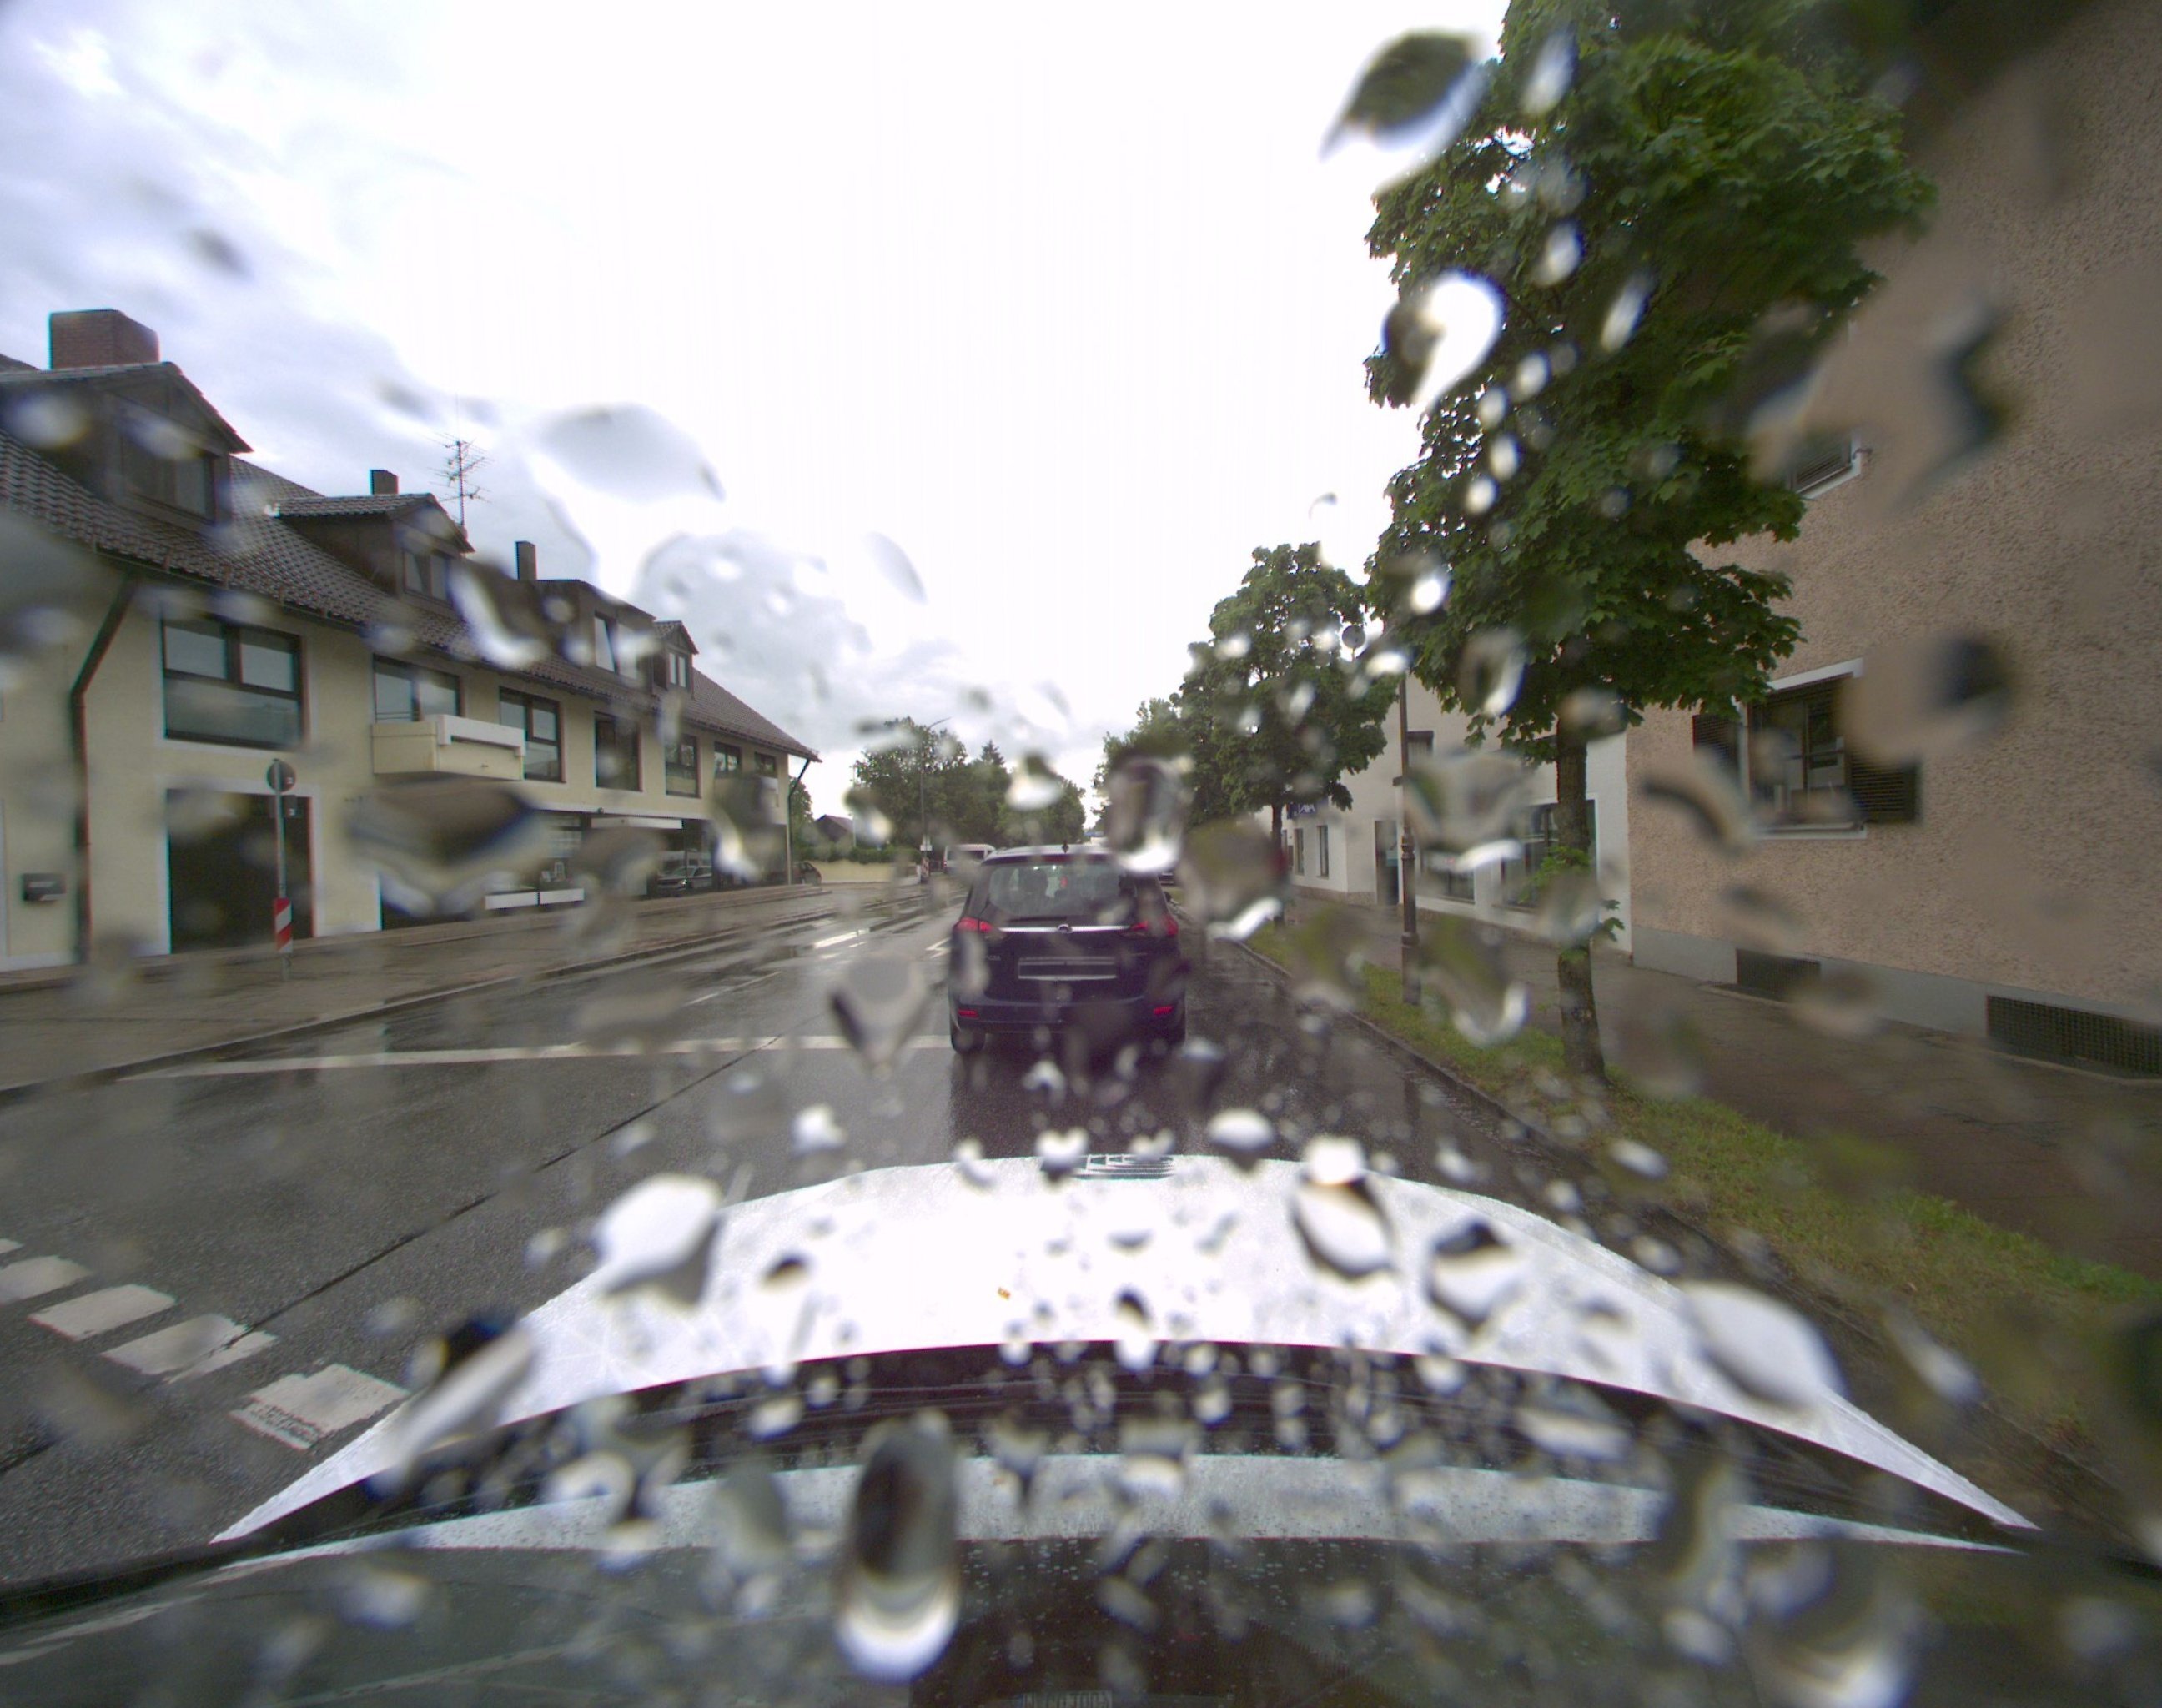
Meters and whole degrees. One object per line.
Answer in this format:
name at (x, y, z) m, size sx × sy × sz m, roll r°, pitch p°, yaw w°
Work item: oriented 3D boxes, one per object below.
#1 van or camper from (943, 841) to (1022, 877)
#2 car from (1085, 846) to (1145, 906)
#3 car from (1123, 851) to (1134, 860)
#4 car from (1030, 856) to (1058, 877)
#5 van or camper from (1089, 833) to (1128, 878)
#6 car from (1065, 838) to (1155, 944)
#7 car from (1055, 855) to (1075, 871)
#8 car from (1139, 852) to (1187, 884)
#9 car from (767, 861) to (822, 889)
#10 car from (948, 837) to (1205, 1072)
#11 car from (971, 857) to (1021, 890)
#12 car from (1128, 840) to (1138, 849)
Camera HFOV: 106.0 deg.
van or camper at (-8.065, 0.401, 67.123) m, size 6.237 × 2.707 × 2.097 m, roll -2°, pitch 0°, yaw -5°
car at (1.079, 0.655, 26.040) m, size 1.749 × 1.706 × 3.621 m, roll -2°, pitch 0°, yaw 2°
car at (7.522, 0.317, 130.265) m, size 1.624 × 1.378 × 3.624 m, roll 0°, pitch -1°, yaw 2°
car at (-2.895, 0.940, 65.043) m, size 1.920 × 1.566 × 4.127 m, roll -2°, pitch 0°, yaw 1°
van or camper at (1.793, 0.084, 52.962) m, size 2.351 × 2.665 × 5.374 m, roll -2°, pitch 0°, yaw 2°
car at (0.543, 0.622, 15.144) m, size 1.494 × 1.776 × 3.113 m, roll 0°, pitch 0°, yaw 2°
car at (-1.706, 0.945, 86.656) m, size 1.745 × 1.511 × 4.233 m, roll -3°, pitch 0°, yaw 3°
car at (4.122, 0.698, 41.467) m, size 2.110 × 1.581 × 3.936 m, roll 0°, pitch 0°, yaw 1°
car at (-15.916, 1.151, 45.399) m, size 1.601 × 1.380 × 3.510 m, roll -3°, pitch 0°, yaw 2°
car at (0.029, 0.692, 7.414) m, size 1.762 × 1.604 × 3.665 m, roll 0°, pitch 0°, yaw 2°
car at (-4.363, 0.960, 42.274) m, size 1.960 × 1.563 × 4.153 m, roll -3°, pitch 0°, yaw 2°
car at (8.872, -1.578, 139.640) m, size 1.624 × 1.378 × 3.624 m, roll -3°, pitch 0°, yaw 2°
